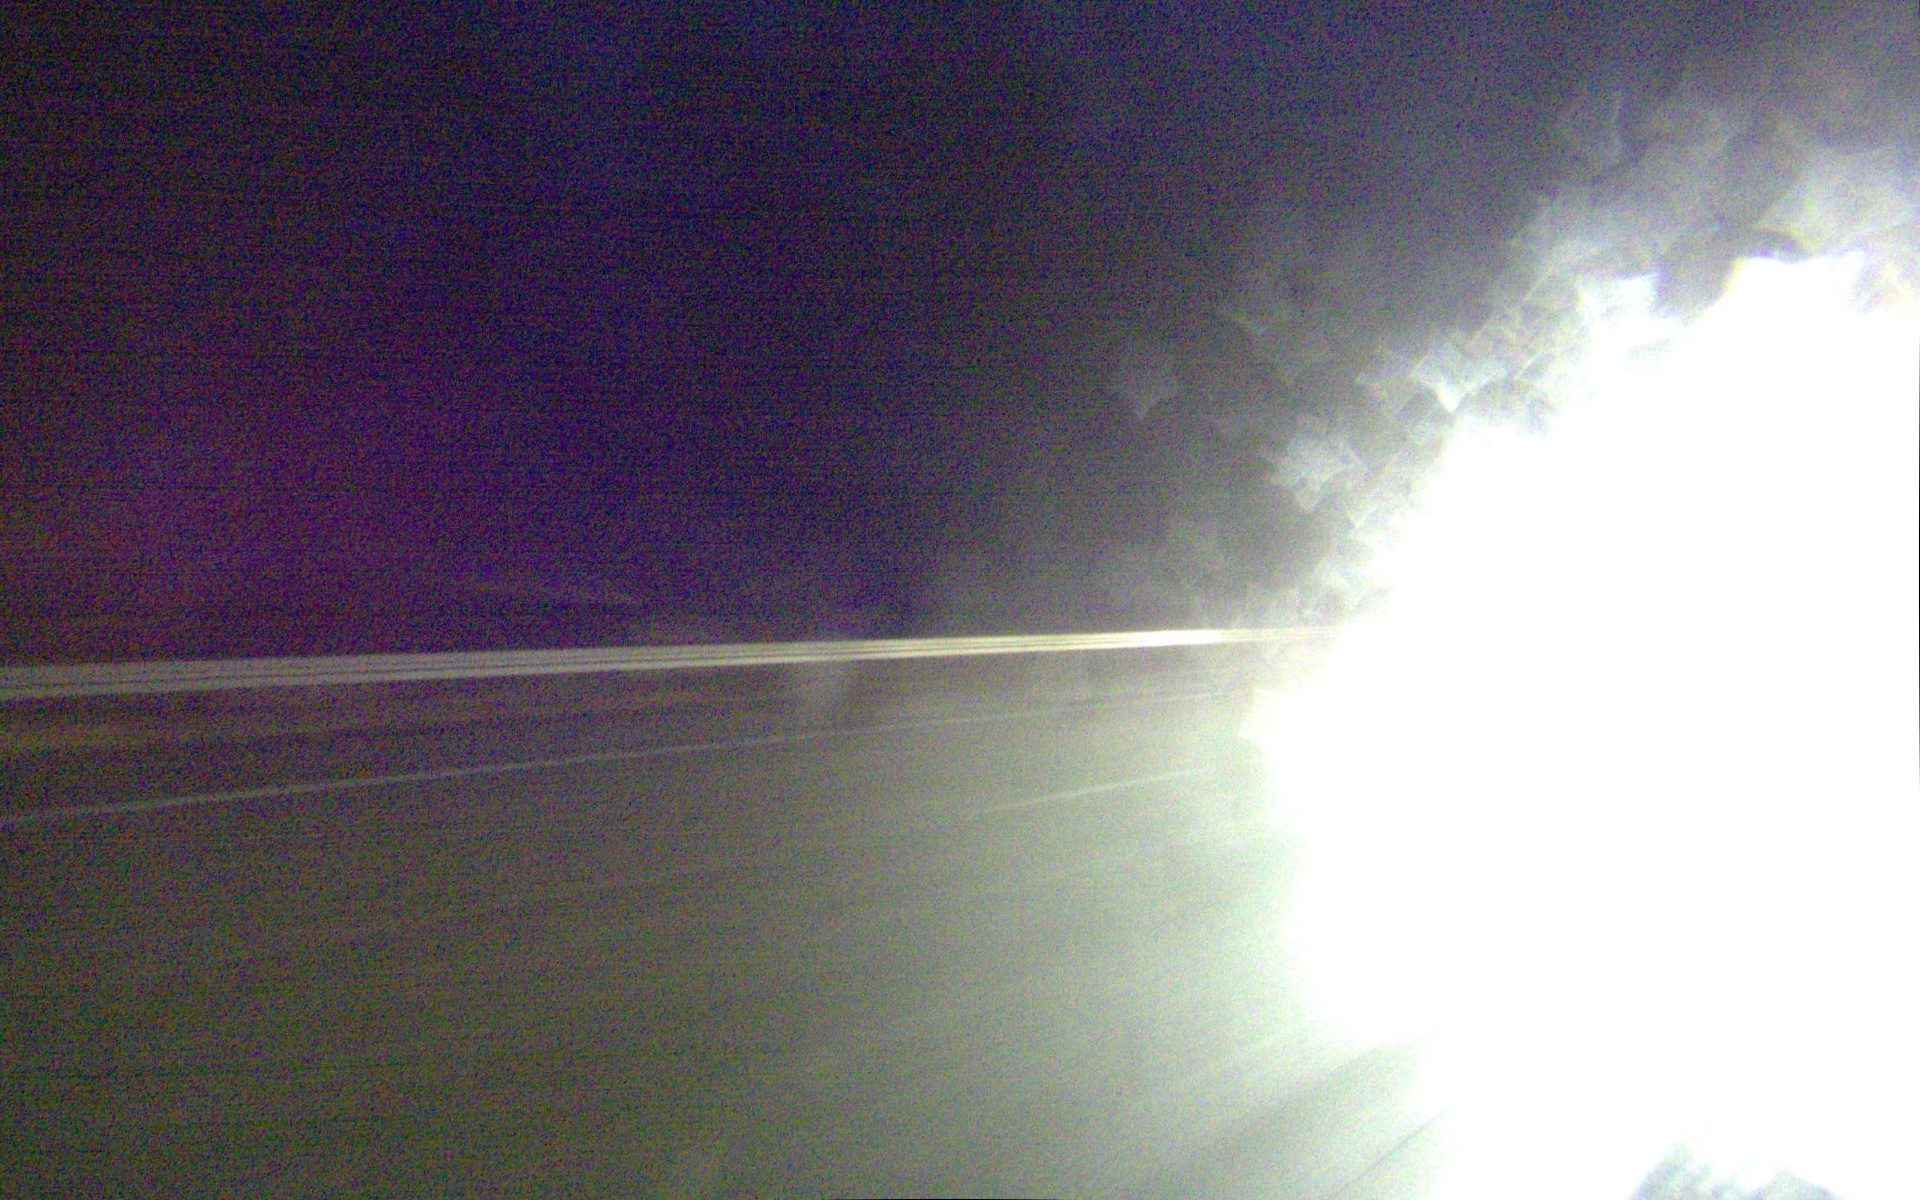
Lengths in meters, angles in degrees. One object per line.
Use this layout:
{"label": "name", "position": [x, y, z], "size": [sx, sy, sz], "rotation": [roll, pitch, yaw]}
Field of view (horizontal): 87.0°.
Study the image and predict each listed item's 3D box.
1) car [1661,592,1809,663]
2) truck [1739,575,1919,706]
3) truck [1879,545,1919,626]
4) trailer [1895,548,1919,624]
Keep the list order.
{"label": "car", "position": [18.247, 0.594, 23.735], "size": [5.272, 1.498, 1.746], "rotation": [0, 0, -41]}
{"label": "truck", "position": [13.704, 0.508, 15.524], "size": [4.769, 1.717, 1.847], "rotation": [-1, 0, -41]}
{"label": "truck", "position": [52.016, -0.780, 54.432], "size": [6.888, 4.155, 2.865], "rotation": [0, 0, -40]}
{"label": "trailer", "position": [57.888, -0.837, 59.239], "size": [13.397, 4.149, 2.871], "rotation": [-1, 0, -40]}
